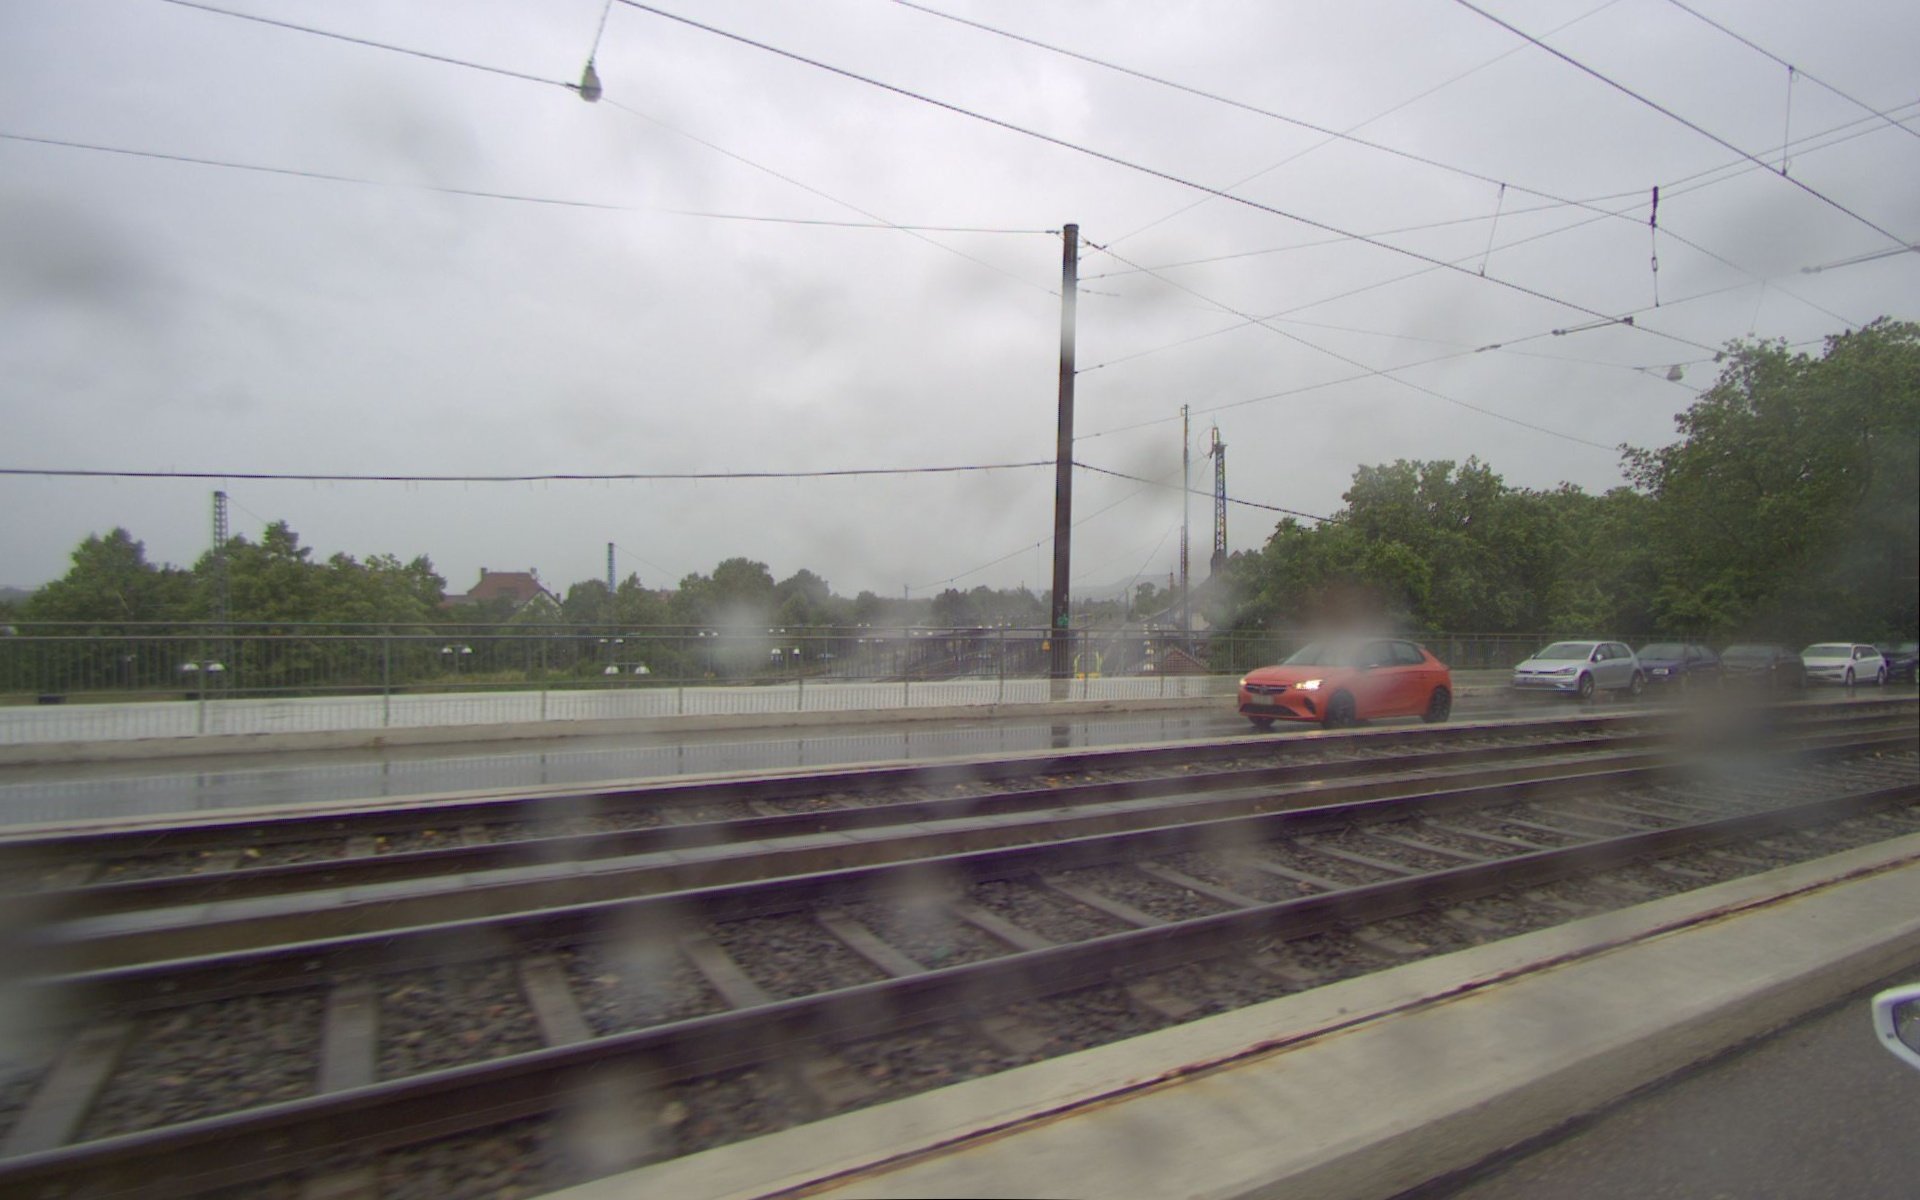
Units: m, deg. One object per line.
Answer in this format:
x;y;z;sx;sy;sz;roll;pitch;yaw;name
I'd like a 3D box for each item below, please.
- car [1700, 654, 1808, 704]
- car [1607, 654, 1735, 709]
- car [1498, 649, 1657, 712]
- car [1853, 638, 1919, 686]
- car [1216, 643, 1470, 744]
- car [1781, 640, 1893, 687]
25.250;2.467;31.908;4.364;1.419;1.496;1;-3;-35;car
20.579;2.308;29.026;4.234;1.419;1.498;0;-3;-32;car
16.432;2.080;26.670;4.271;1.474;1.854;0;-3;-32;car
35.781;2.312;38.118;4.780;1.693;1.498;0;-3;-32;car
6.323;1.449;16.513;4.035;1.333;1.790;0;1;-30;car
30.611;2.209;35.020;4.838;1.418;1.499;0;-6;-32;car
